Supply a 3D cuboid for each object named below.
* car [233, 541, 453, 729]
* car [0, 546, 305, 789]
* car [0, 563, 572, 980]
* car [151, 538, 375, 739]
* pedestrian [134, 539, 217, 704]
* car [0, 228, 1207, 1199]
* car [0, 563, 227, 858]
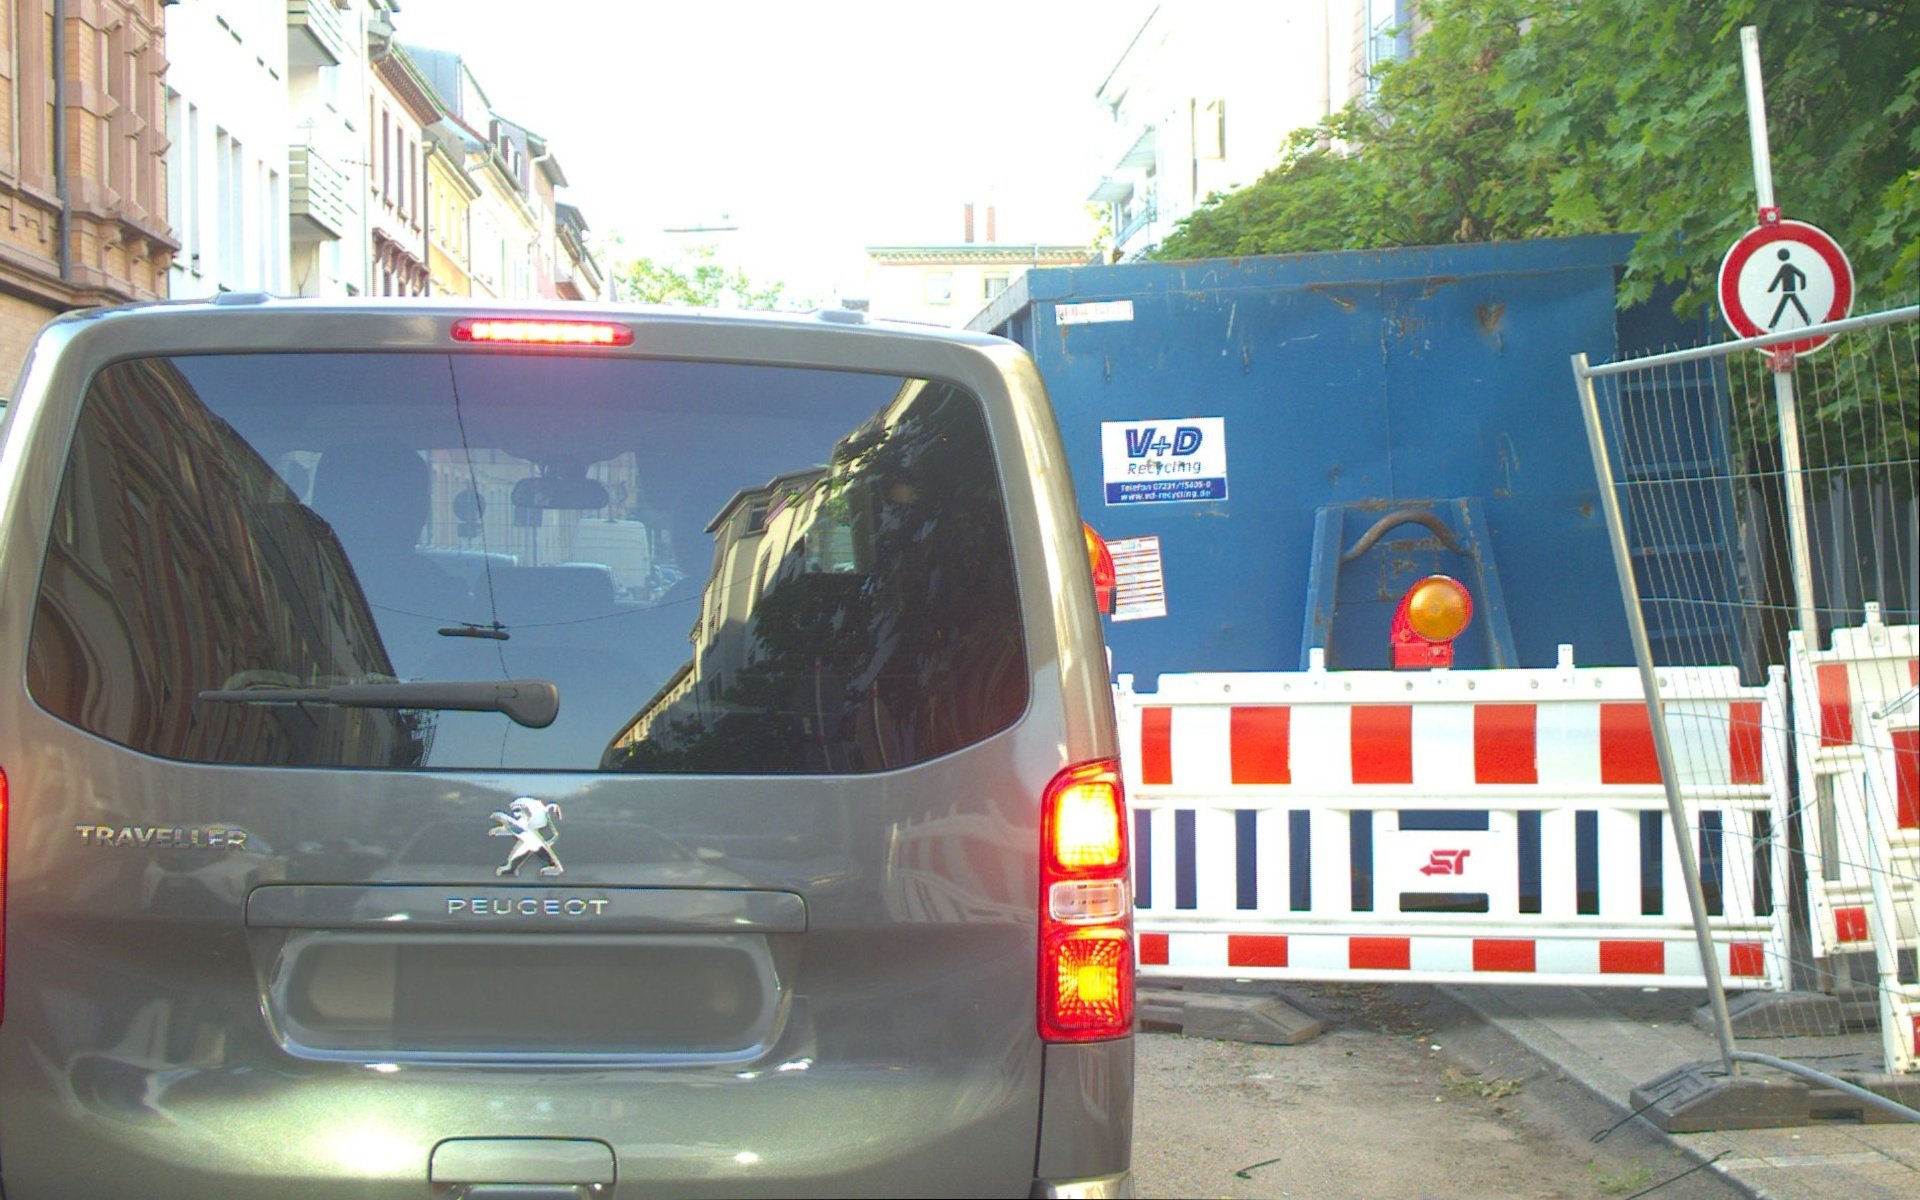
[{"bbox_3d":[-6.300,0.333,35.459,1.891,1.714,3.755,4,0,-7],"label":"car"},{"bbox_3d":[-5.734,0.445,24.733,1.655,1.520,3.418,4,0,-7],"label":"car"},{"bbox_3d":[-3.335,0.591,14.781,1.928,1.446,4.809,0,1,11],"label":"car"},{"bbox_3d":[-6.399,0.334,31.815,1.666,1.660,3.092,4,0,-7],"label":"car"},{"bbox_3d":[-8.005,0.212,35.108,0.739,1.659,0.704,-1,1,-7],"label":"pedestrian"},{"bbox_3d":[-0.836,0.448,6.649,1.865,1.880,4.236,0,0,-7],"label":"car"},{"bbox_3d":[-5.200,0.547,19.425,1.655,1.455,3.418,4,0,-7],"label":"car"}]
